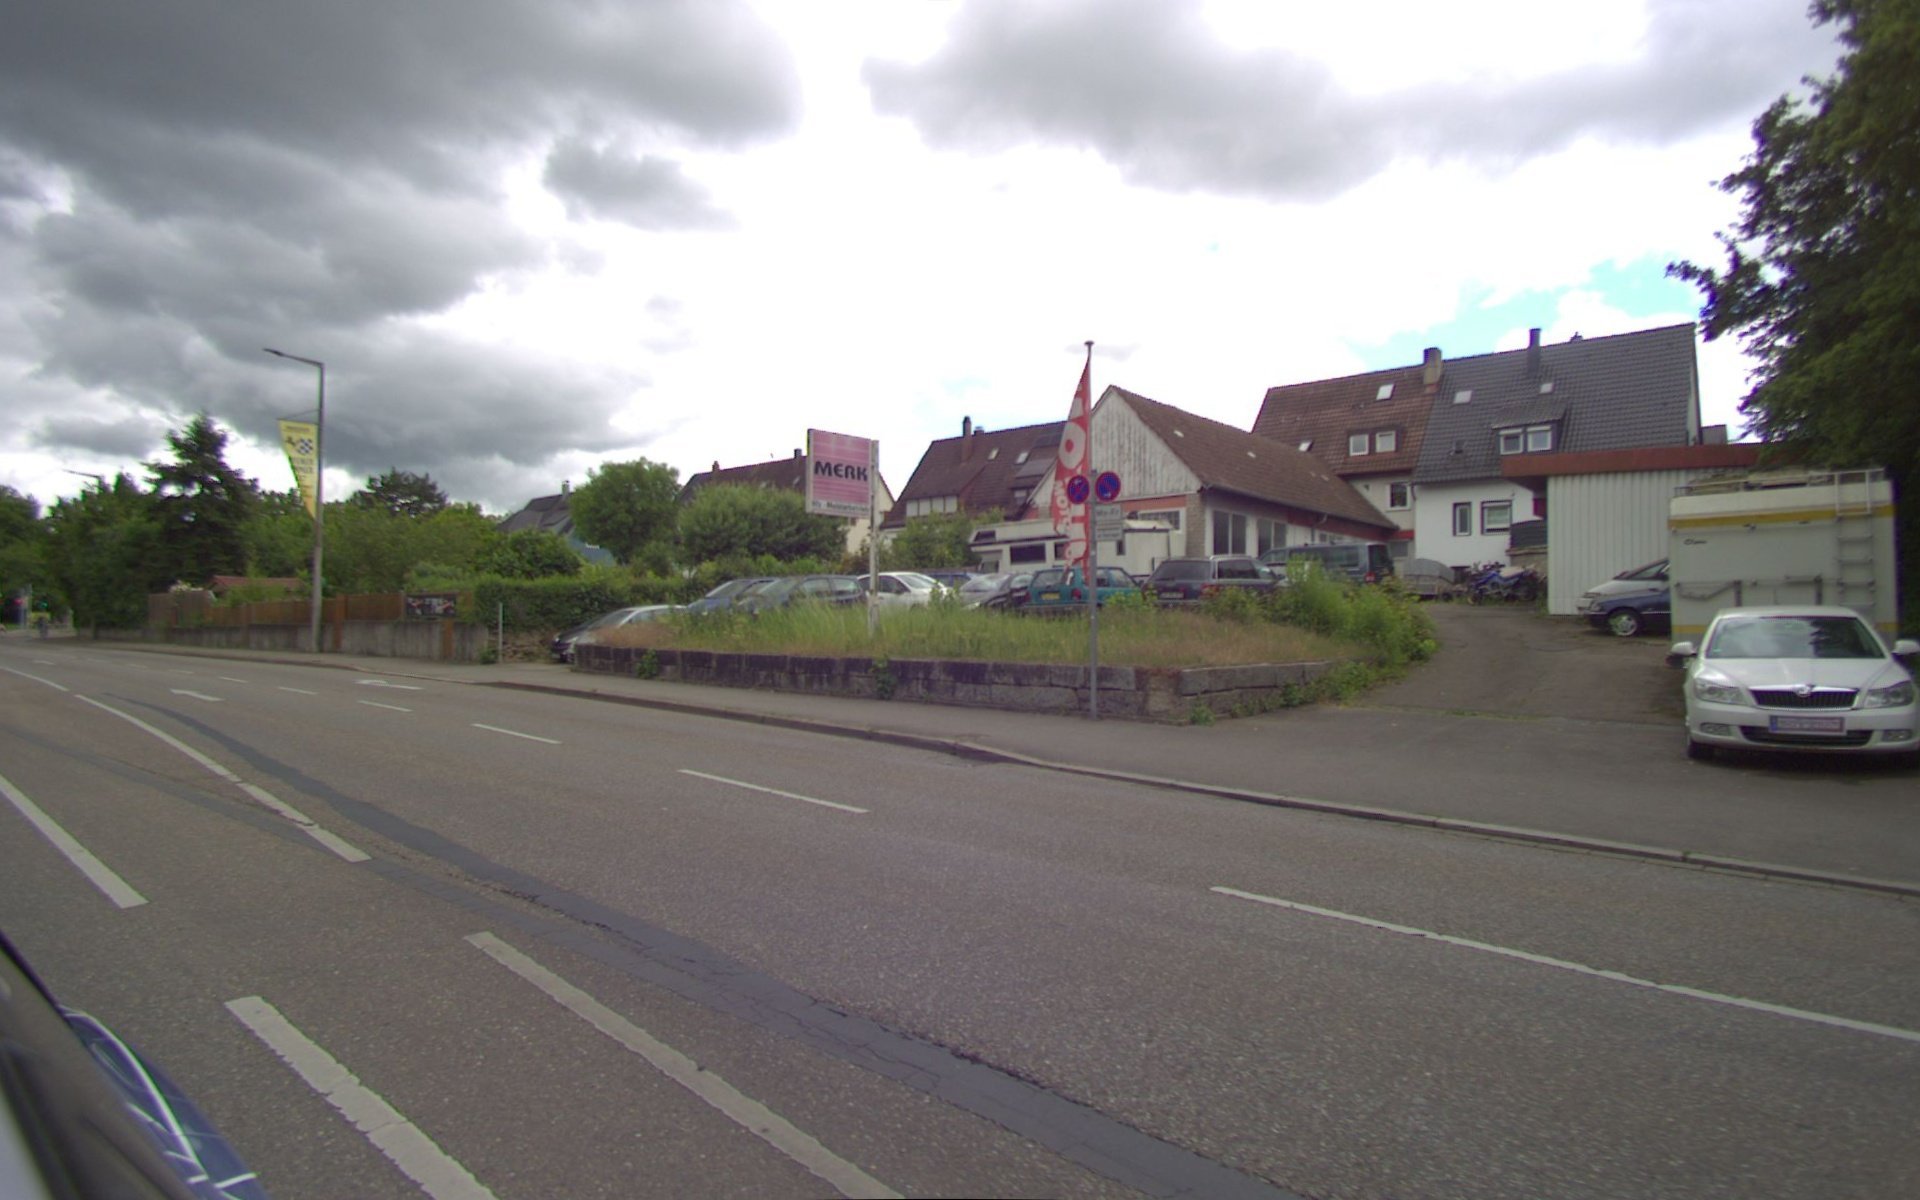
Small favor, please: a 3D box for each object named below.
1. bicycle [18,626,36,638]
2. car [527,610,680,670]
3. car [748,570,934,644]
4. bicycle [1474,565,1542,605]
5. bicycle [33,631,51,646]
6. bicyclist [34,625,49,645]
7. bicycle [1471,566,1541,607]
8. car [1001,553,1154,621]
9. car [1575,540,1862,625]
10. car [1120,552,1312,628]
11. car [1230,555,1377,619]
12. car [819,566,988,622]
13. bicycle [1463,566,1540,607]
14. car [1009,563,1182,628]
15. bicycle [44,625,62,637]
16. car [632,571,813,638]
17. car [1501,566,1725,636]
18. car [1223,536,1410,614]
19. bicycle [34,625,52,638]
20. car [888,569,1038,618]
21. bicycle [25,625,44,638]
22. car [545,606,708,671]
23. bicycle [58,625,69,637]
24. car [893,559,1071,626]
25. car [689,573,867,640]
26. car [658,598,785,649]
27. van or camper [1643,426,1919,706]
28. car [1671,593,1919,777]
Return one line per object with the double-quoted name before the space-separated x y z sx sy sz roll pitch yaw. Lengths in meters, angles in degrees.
"bicycle" -100.704 3.432 109.265 0.537 1.262 1.940 -1 0 -12
"car" -10.824 1.155 30.902 1.999 1.616 3.945 0 1 42
"car" -2.587 0.101 22.558 3.941 1.503 1.648 -1 1 -45
"bicycle" 17.985 -0.489 33.219 1.822 1.189 0.625 -4 -2 44
"bicycle" -73.412 3.101 80.921 2.143 1.154 0.636 -1 0 37
"bicyclist" -73.546 2.805 81.031 0.977 1.546 0.636 -1 0 36
"bicycle" 17.493 -0.426 32.469 1.822 1.189 0.625 -4 -2 44
"car" 3.116 -0.340 26.419 3.941 1.641 1.935 -1 1 -45
"car" 16.843 -0.333 22.667 4.970 1.702 1.881 -1 0 43
"car" 5.226 -0.214 20.412 3.941 1.380 2.001 -1 1 -45
"car" 8.227 -0.315 24.100 3.701 1.411 1.848 -1 1 -45
"car" -1.551 -0.113 26.877 4.396 1.352 1.829 -1 -1 39
"bicycle" 17.008 -0.408 31.803 1.986 1.189 0.625 -4 -2 44
"car" 3.013 -0.116 21.986 1.886 1.278 3.889 0 1 42
"bicycle" -98.427 3.388 109.856 0.537 1.262 1.940 -1 1 -12
"car" -5.743 0.071 24.756 3.941 1.508 1.860 -1 1 -45
"car" 13.990 0.009 21.806 3.875 1.356 1.499 -1 2 42
"car" 10.259 -0.678 29.340 4.749 2.078 1.860 0 1 42
"bicycle" -99.282 3.405 109.536 0.537 1.262 1.940 -1 1 -12
"car" 0.032 -0.176 29.034 4.284 1.328 1.651 0 1 41
"bicycle" -100.143 3.420 109.532 0.537 1.262 1.940 -1 1 -12
"car" -9.446 1.034 28.865 1.999 1.629 3.945 0 1 42
"bicycle" -97.631 3.371 110.215 0.536 1.262 1.941 -1 1 -32
"car" 0.555 -0.184 22.921 3.795 1.389 1.919 -1 1 -45
"car" -4.187 0.106 23.699 3.941 1.421 1.534 -1 1 -45
"car" -8.137 0.752 34.744 1.774 1.581 3.945 0 1 42
"van or camper" 12.887 -0.659 15.831 2.795 3.395 7.071 -2 4 41
"car" 8.678 0.699 10.441 1.959 1.452 4.333 -1 0 38
